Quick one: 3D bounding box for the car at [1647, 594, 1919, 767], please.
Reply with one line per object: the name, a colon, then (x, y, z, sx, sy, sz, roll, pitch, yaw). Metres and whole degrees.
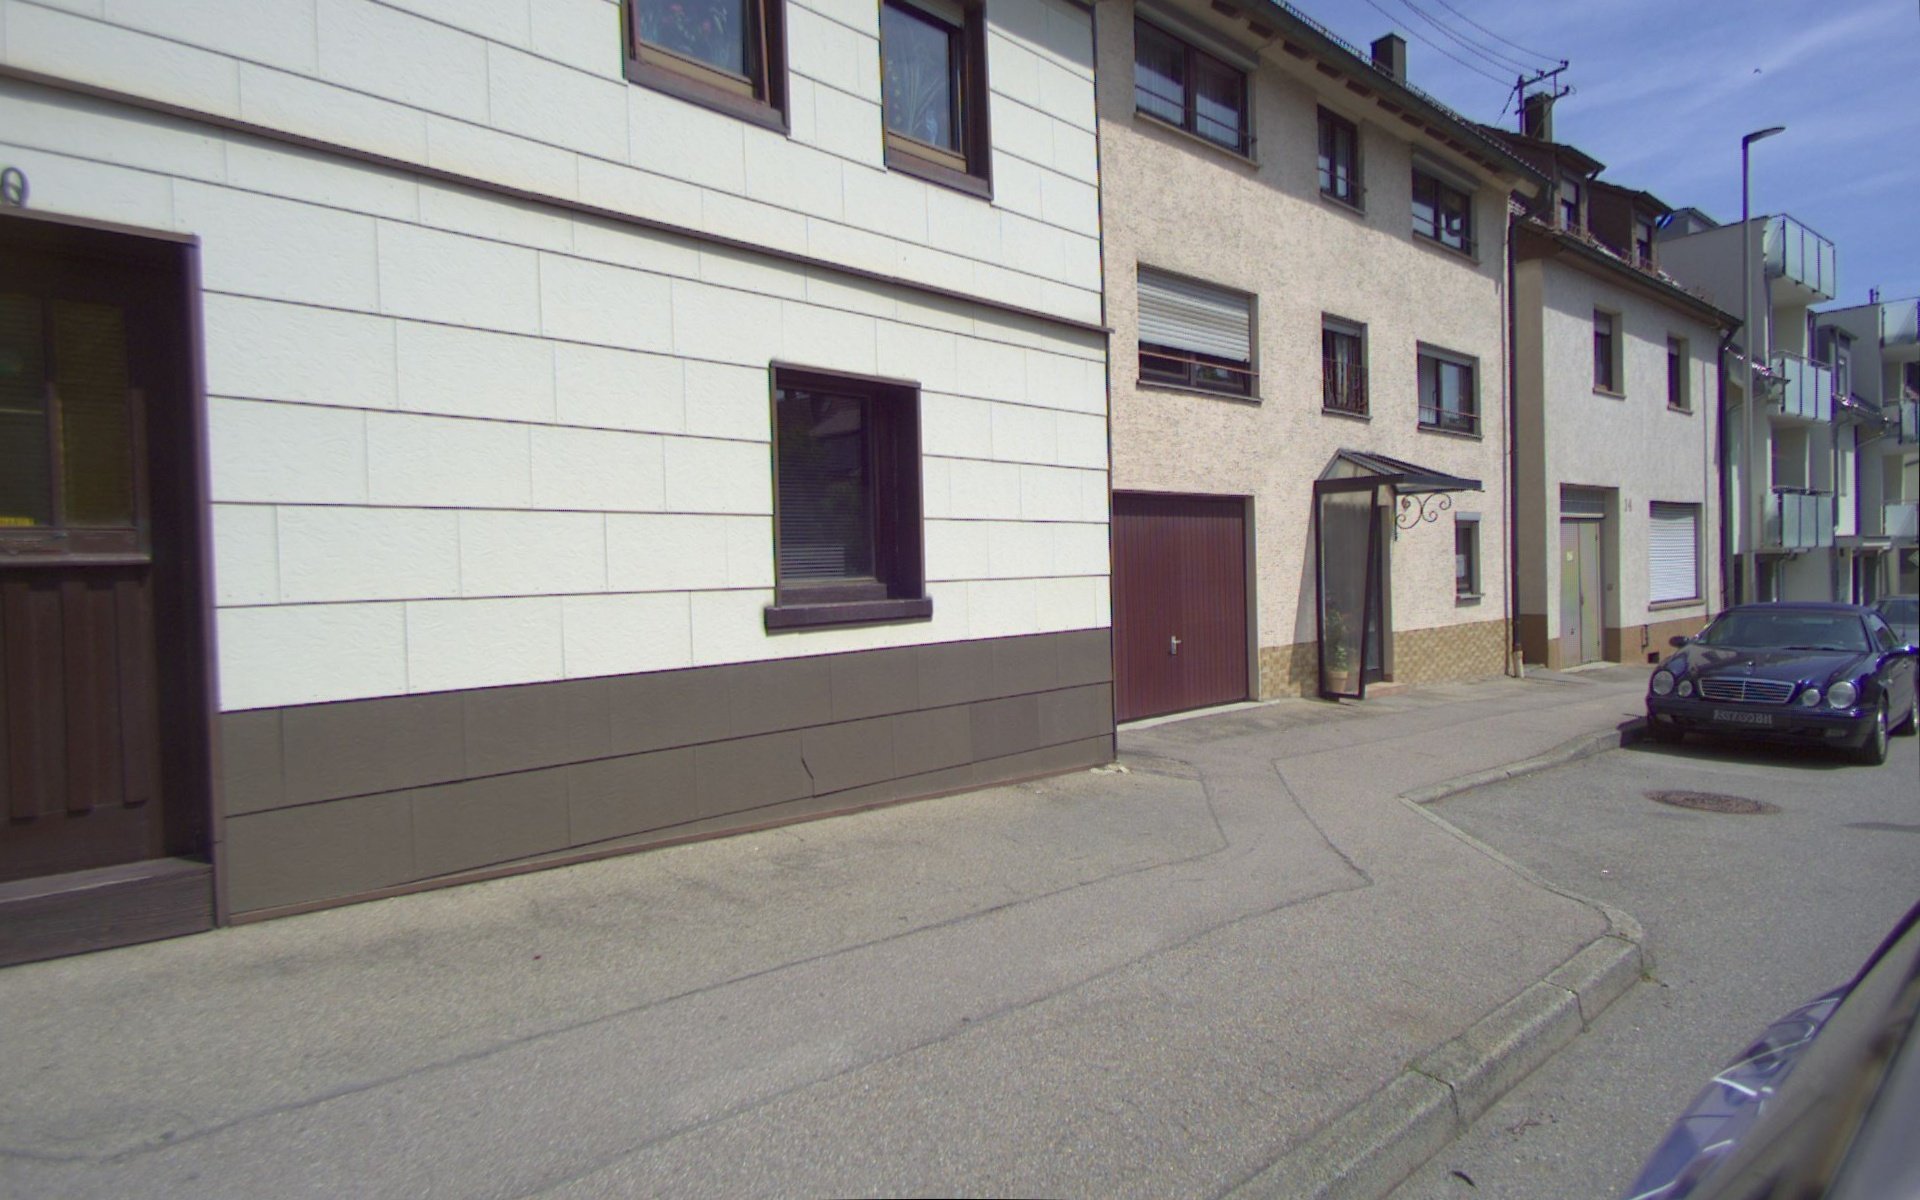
car: (8.442, 0.635, 10.129, 4.115, 1.369, 1.668, 0, 1, -42)

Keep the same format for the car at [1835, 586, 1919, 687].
car: (15.322, 0.520, 15.782, 4.332, 1.420, 1.798, 0, 2, -39)
